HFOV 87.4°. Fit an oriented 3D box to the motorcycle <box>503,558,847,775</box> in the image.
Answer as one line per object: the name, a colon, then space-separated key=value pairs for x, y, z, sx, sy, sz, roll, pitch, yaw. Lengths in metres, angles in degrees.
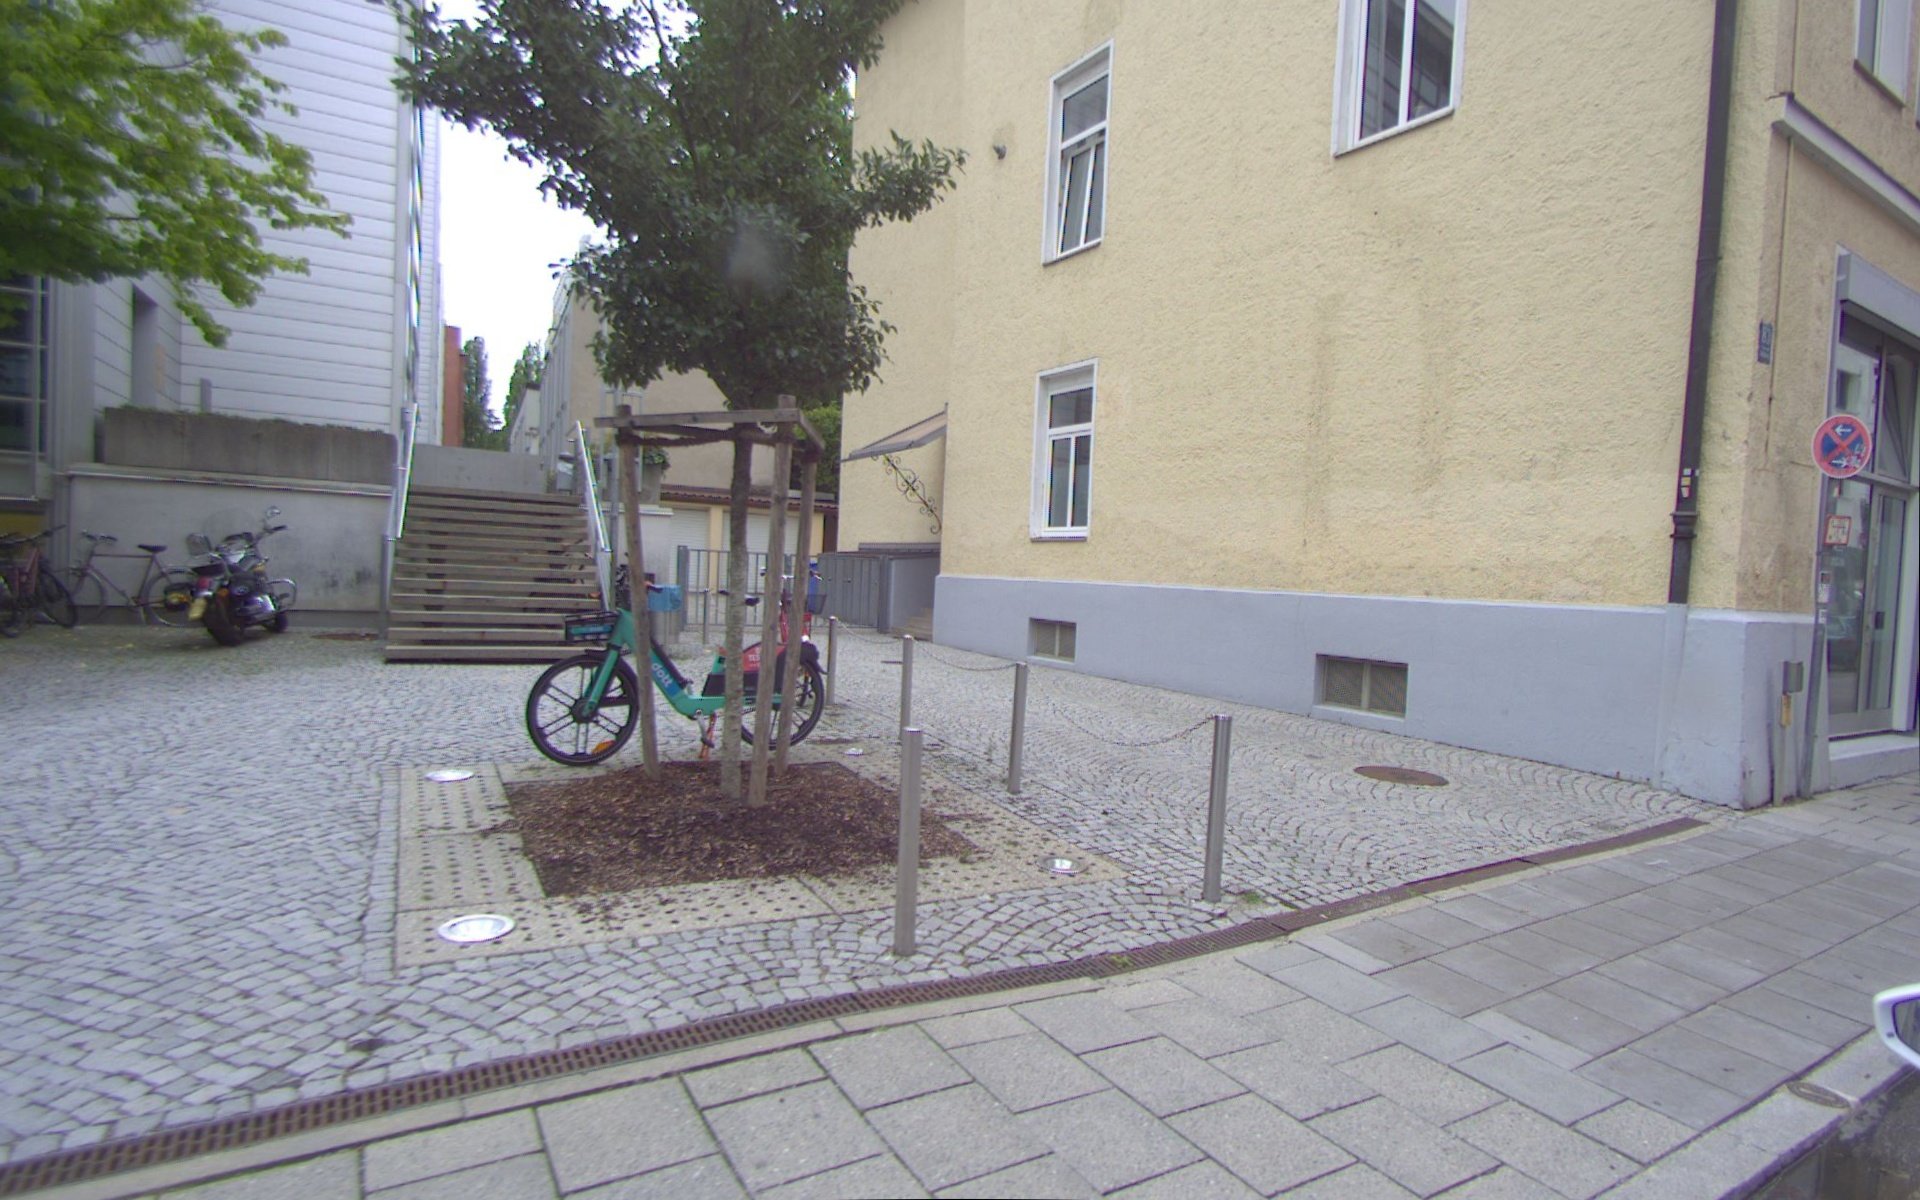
motorcycle: x=-1.747 y=0.394 z=6.267 sx=1.956 sy=1.188 sz=0.574 roll=2 pitch=2 yaw=-28

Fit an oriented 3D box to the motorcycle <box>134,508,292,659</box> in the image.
motorcycle: x=-8.024 y=-0.195 z=10.933 sx=0.958 sy=1.431 sz=2.654 roll=2 pitch=2 yaw=-28

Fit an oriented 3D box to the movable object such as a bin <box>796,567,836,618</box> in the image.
movable object such as a bin: x=-2.916 y=-0.159 z=20.267 sx=0.641 sy=0.984 sz=0.475 roll=1 pitch=3 yaw=-29

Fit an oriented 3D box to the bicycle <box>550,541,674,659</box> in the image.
bicycle: x=-4.460 y=-0.070 z=12.650 sx=0.758 sy=1.268 sz=3.205 roll=1 pitch=3 yaw=-32

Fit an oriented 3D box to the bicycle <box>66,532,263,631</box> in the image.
bicycle: x=-9.437 y=-0.203 z=11.987 sx=1.773 sy=1.106 sz=0.414 roll=1 pitch=1 yaw=-29

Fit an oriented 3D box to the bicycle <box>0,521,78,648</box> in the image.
bicycle: x=-9.924 y=-0.204 z=10.443 sx=0.689 sy=1.220 sz=1.889 roll=2 pitch=2 yaw=-28

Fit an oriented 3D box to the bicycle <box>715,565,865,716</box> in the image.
bicycle: x=-1.617 y=0.313 z=9.249 sx=0.738 sy=1.188 sz=1.966 roll=2 pitch=2 yaw=-28

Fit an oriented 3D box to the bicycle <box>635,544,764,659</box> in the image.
bicycle: x=-3.411 y=-0.044 z=12.892 sx=0.758 sy=1.268 sz=2.836 roll=1 pitch=3 yaw=-32
